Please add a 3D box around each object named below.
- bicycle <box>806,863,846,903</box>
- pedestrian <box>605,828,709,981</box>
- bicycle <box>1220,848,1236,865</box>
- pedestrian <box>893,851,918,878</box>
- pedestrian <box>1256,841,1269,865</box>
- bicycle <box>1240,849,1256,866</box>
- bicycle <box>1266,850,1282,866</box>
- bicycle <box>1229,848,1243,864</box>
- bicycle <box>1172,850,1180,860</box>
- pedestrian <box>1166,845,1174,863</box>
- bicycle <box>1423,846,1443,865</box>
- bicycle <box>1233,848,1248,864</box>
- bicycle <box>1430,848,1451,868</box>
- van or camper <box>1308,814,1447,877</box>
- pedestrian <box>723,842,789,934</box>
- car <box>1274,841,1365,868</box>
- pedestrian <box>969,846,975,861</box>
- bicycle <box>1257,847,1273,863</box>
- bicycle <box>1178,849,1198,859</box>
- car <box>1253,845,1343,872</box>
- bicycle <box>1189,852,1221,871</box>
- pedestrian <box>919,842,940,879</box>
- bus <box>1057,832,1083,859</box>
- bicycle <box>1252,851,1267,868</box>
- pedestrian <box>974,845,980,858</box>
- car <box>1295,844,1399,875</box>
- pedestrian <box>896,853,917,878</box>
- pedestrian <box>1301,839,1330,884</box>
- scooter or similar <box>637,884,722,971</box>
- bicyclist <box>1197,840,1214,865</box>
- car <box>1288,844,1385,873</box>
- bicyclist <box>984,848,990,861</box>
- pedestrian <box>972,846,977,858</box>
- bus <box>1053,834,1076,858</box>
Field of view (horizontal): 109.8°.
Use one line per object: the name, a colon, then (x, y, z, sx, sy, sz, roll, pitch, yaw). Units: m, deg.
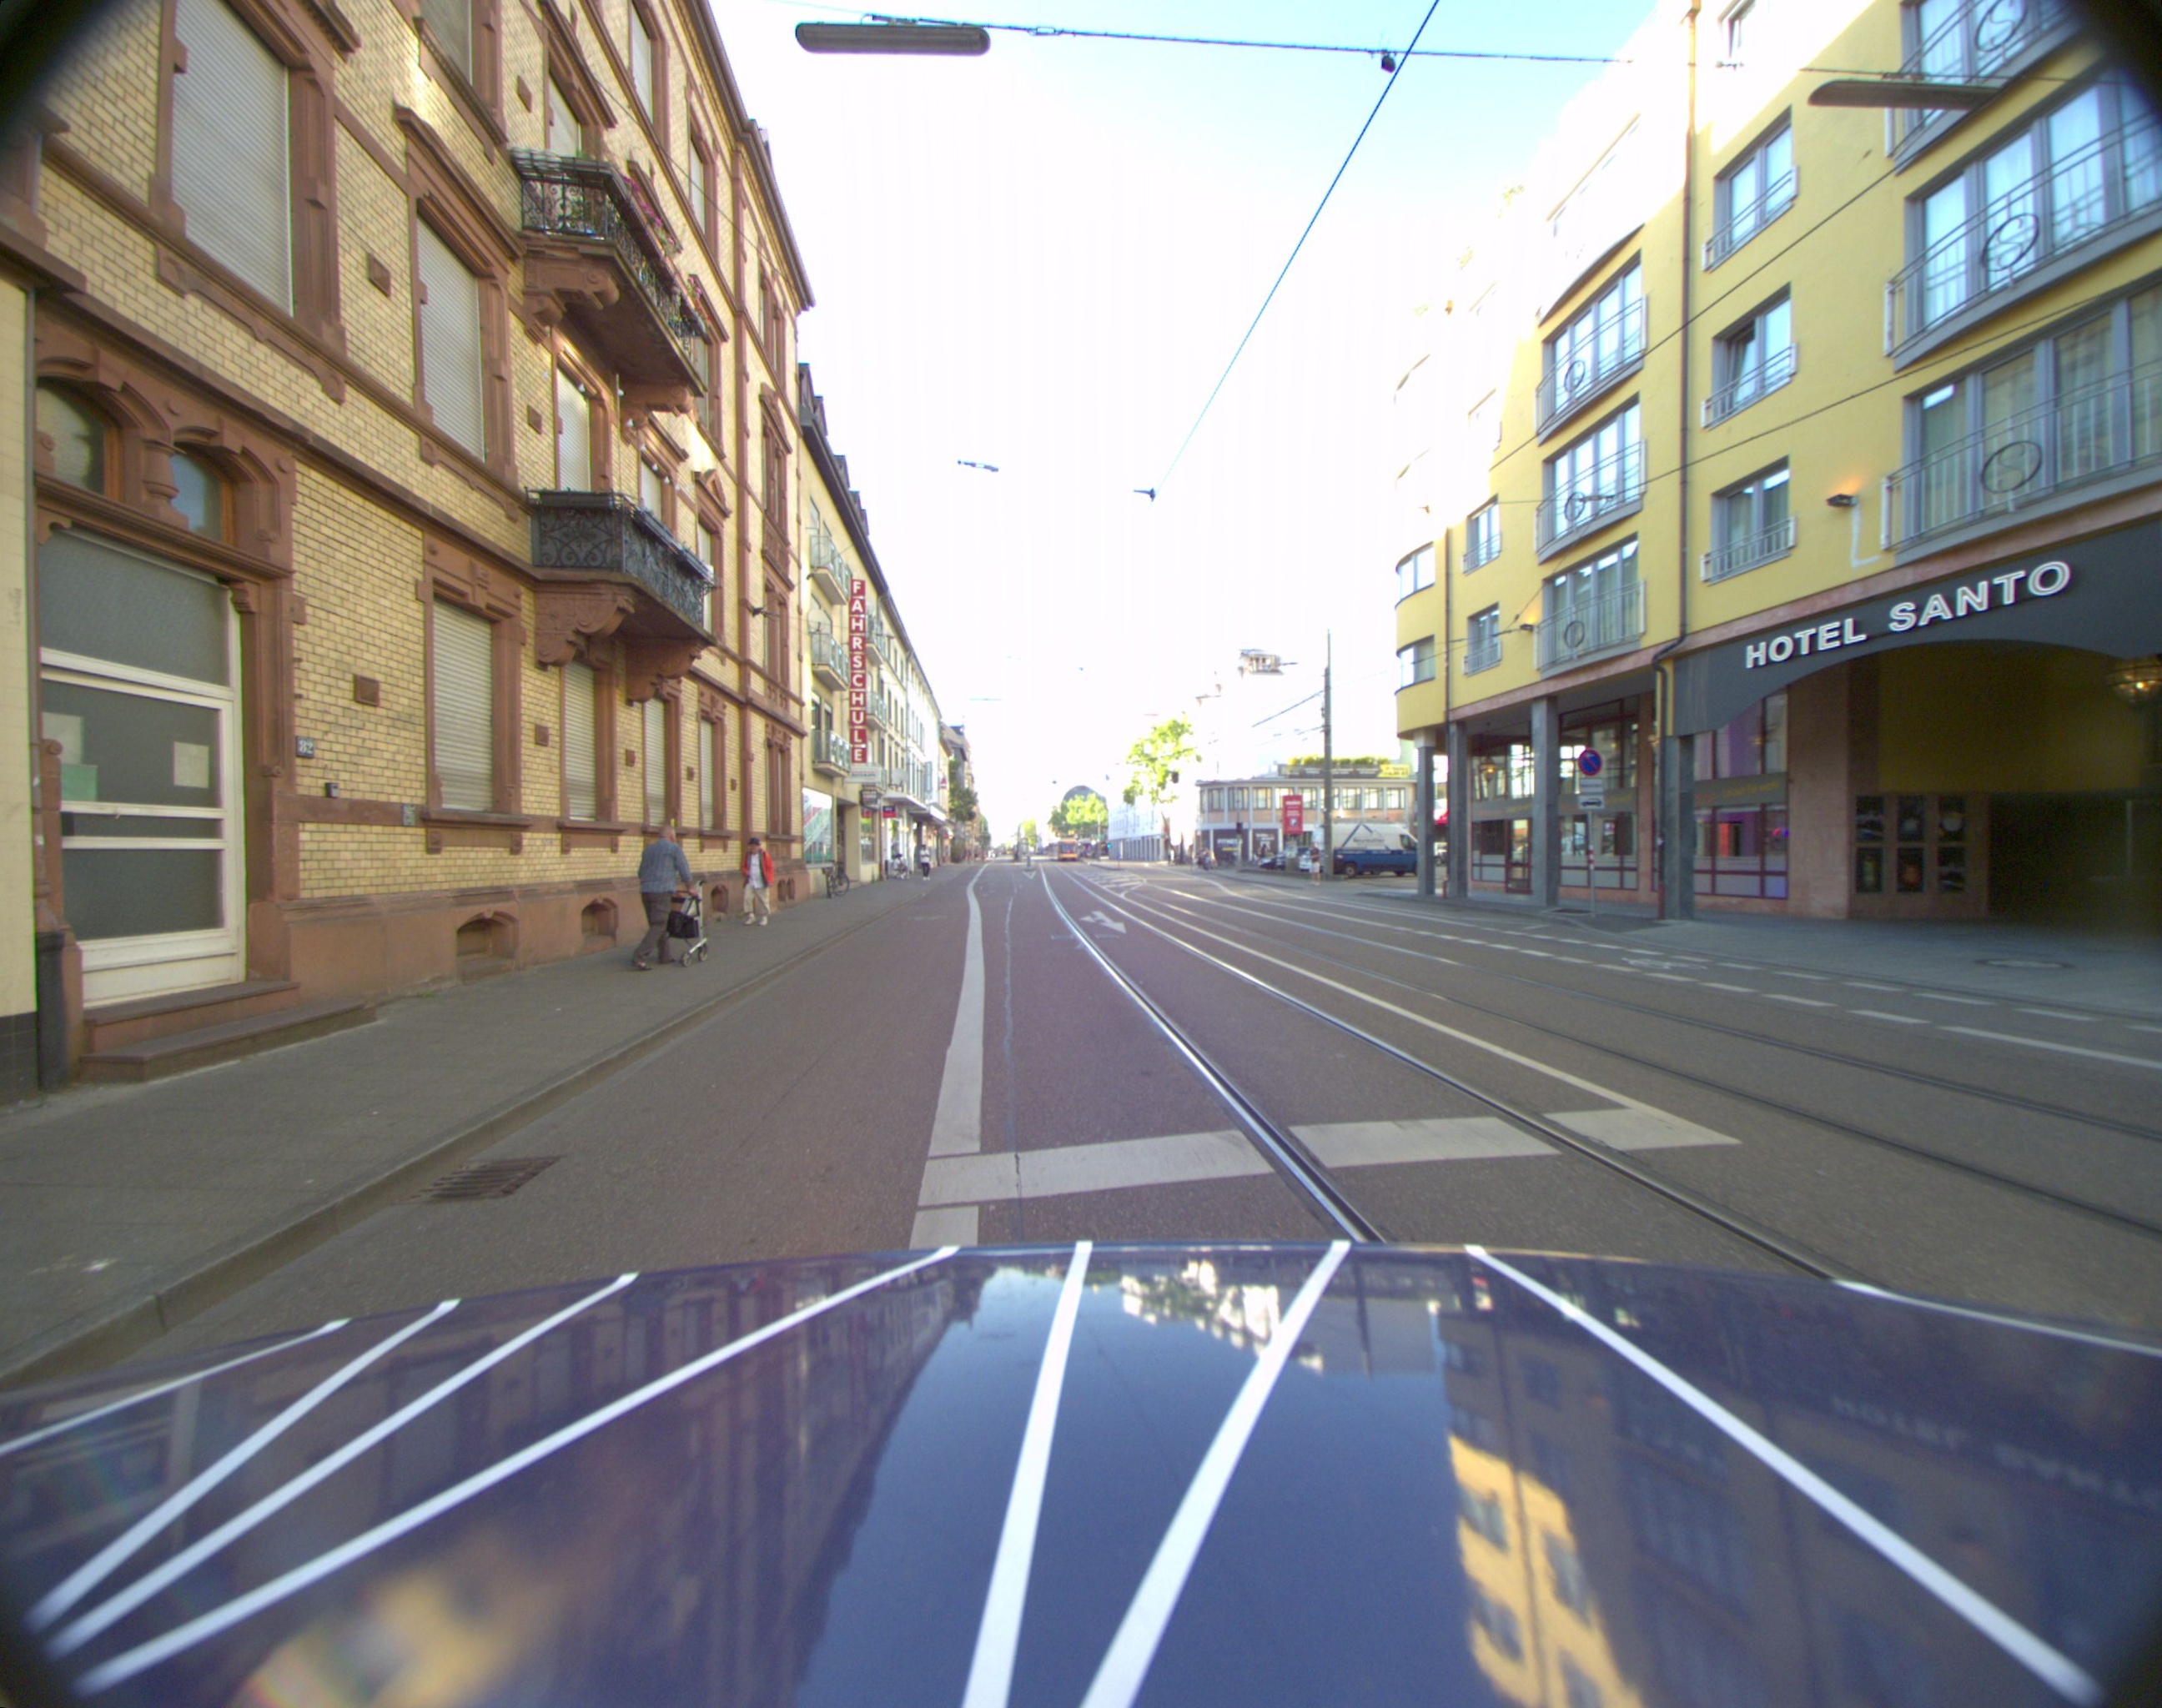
bicycle: (-7.456, 0.818, 22.302, 0.556, 1.055, 2.309, 2, 0, -5)
pedestrian: (-5.272, 0.611, 9.494, 0.808, 1.789, 0.761, 3, 0, -6)
bicycle: (10.744, 0.169, 55.643, 0.447, 1.180, 1.829, 0, 0, -12)
pedestrian: (-8.641, 0.516, 37.437, 0.833, 1.248, 0.705, 5, 0, -41)
pedestrian: (12.824, -0.089, 53.610, 0.683, 1.687, 0.683, 0, 1, -8)
bicycle: (12.190, 0.261, 55.500, 0.444, 1.180, 1.830, 0, 0, -9)
bicycle: (13.804, 0.288, 54.474, 0.449, 1.180, 1.830, 0, 0, -9)
bicycle: (11.271, 0.132, 55.357, 0.441, 1.180, 1.830, 0, 0, -6)
bicycle: (9.288, 0.106, 74.603, 0.389, 0.907, 1.850, -2, 1, -5)
pedestrian: (8.849, -0.002, 75.465, 0.630, 1.706, 0.826, 0, 1, 22)
bicycle: (21.932, 0.089, 47.392, 0.432, 1.180, 1.831, 0, 0, 1)
bicycle: (11.684, 0.158, 55.574, 0.449, 1.180, 1.830, 0, 0, -9)
bicycle: (22.428, 0.235, 47.429, 0.432, 1.180, 1.831, 0, 0, 1)
van or camper: (13.858, -0.404, 35.720, 5.623, 2.810, 2.314, 0, 0, -5)
pedestrian: (-6.089, 0.633, 14.269, 0.800, 1.618, 0.825, 5, -1, -5)
car: (13.526, 0.018, 43.255, 4.602, 1.467, 1.878, 0, 0, -5)
pedestrian: (-13.559, -0.066, 94.360, 0.694, 1.761, 0.696, -1, 1, -1)
bicycle: (13.165, 0.066, 54.323, 0.449, 1.180, 1.830, 0, 0, -9)
bicycle: (10.457, -0.021, 74.500, 1.850, 0.906, 0.389, -2, -3, 0)
car: (13.120, 0.276, 46.006, 4.909, 1.574, 1.878, 0, 0, -5)
bicycle: (7.890, 0.475, 48.373, 1.832, 1.164, 0.682, 0, 3, -15)
pedestrian: (-7.727, 0.334, 38.869, 0.706, 1.801, 0.680, 5, 0, 10)
bus: (-1.669, -1.206, 107.225, 2.819, 3.547, 13.670, -1, 1, -5)
bicycle: (12.764, 0.367, 54.344, 0.449, 1.180, 1.830, 0, 0, -9)
pedestrian: (-15.290, -0.364, 111.794, 0.808, 1.790, 0.761, -1, 1, -5)
car: (13.385, 0.259, 38.338, 4.602, 1.467, 1.878, 0, 0, -5)
pedestrian: (-8.835, 0.593, 38.448, 0.708, 1.168, 1.014, 5, 0, -25)
pedestrian: (9.739, 0.296, 31.552, 0.836, 1.822, 0.909, 0, 1, -6)
scooter or similar: (-5.346, 0.965, 10.142, 0.808, 1.064, 0.521, 4, 1, -6)
bicyclist: (7.910, -0.113, 48.346, 0.838, 1.541, 0.690, 0, 3, -16)
car: (13.745, 0.234, 40.966, 4.602, 1.467, 1.878, 0, 0, -5)
bicyclist: (-12.572, 0.056, 101.598, 0.677, 1.604, 0.837, -1, 1, -7)
pedestrian: (-13.834, -0.284, 98.548, 0.651, 1.569, 0.682, -1, 1, -12)
bus: (-2.776, -1.322, 120.489, 2.819, 3.547, 13.670, -1, 1, -5)
